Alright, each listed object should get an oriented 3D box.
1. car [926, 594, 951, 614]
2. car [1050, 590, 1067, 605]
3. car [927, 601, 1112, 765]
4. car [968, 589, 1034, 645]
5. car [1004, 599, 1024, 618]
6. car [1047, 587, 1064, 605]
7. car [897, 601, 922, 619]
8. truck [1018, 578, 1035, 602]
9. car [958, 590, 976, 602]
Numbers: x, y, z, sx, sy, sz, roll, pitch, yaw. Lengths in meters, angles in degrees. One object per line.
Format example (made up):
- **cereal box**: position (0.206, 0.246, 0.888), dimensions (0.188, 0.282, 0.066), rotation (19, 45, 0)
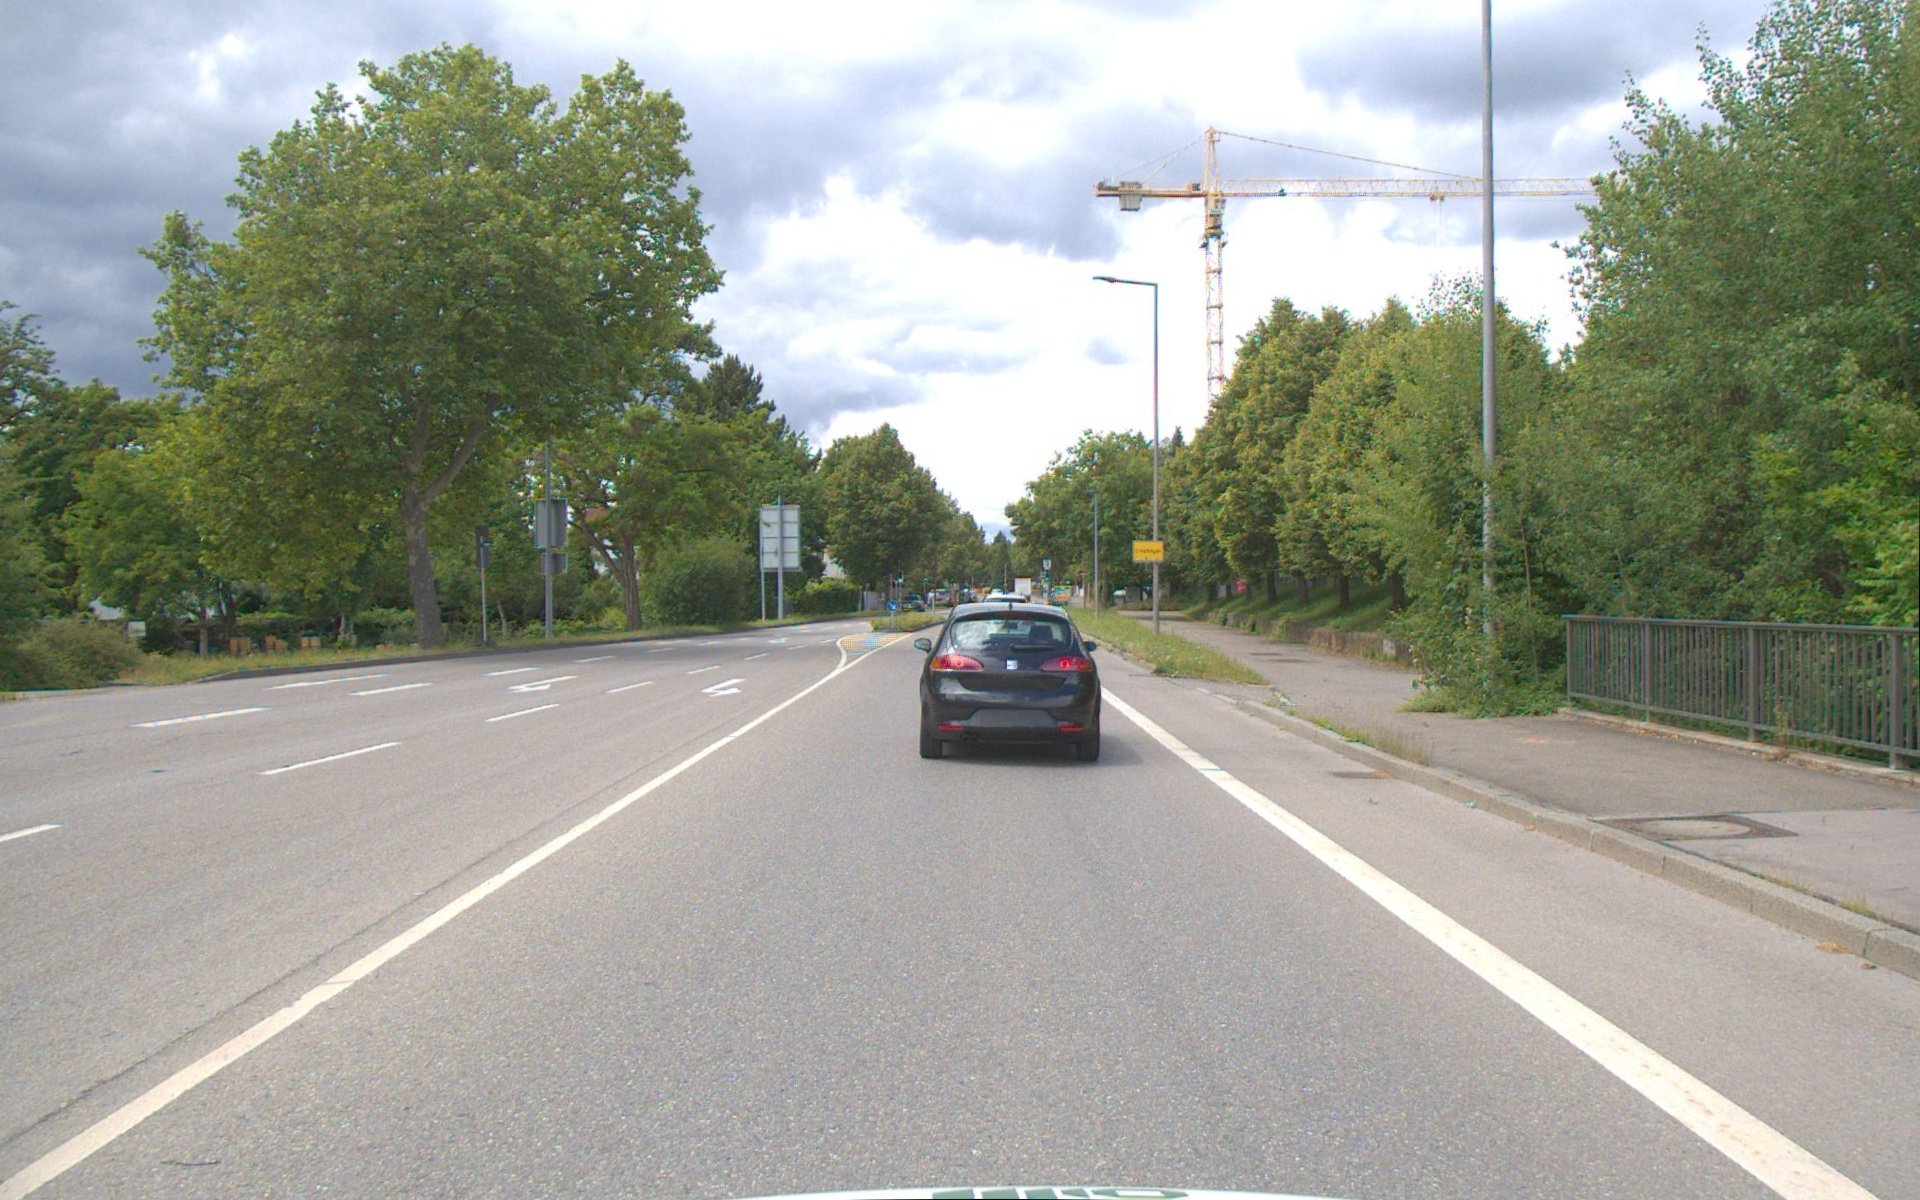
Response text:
- **car**: position (-2.174, 0.431, 168.772), dimensions (2.056, 1.929, 5.786), rotation (-2, 0, 3)
- **car**: position (9.703, -0.252, 162.667), dimensions (1.653, 1.516, 3.356), rotation (-1, 0, 3)
- **car**: position (0.520, 0.742, 16.627), dimensions (1.629, 1.426, 3.811), rotation (1, 0, 0)
- **car**: position (1.204, 0.470, 48.392), dimensions (1.808, 1.536, 3.812), rotation (1, 0, 1)
- **car**: position (5.076, 0.774, 154.831), dimensions (1.842, 1.718, 4.215), rotation (-1, 0, 3)
- **car**: position (9.704, -0.401, 167.788), dimensions (1.653, 1.741, 4.215), rotation (-1, 0, 3)
- **car**: position (-4.218, 0.835, 139.463), dimensions (1.682, 1.419, 4.803), rotation (-2, 0, 3)
- **truck**: position (9.208, -1.385, 230.197), dimensions (2.231, 3.158, 8.513), rotation (1, 0, 2)
- **car**: position (0.988, -0.511, 225.892), dimensions (2.056, 1.532, 5.786), rotation (-2, 0, 3)
